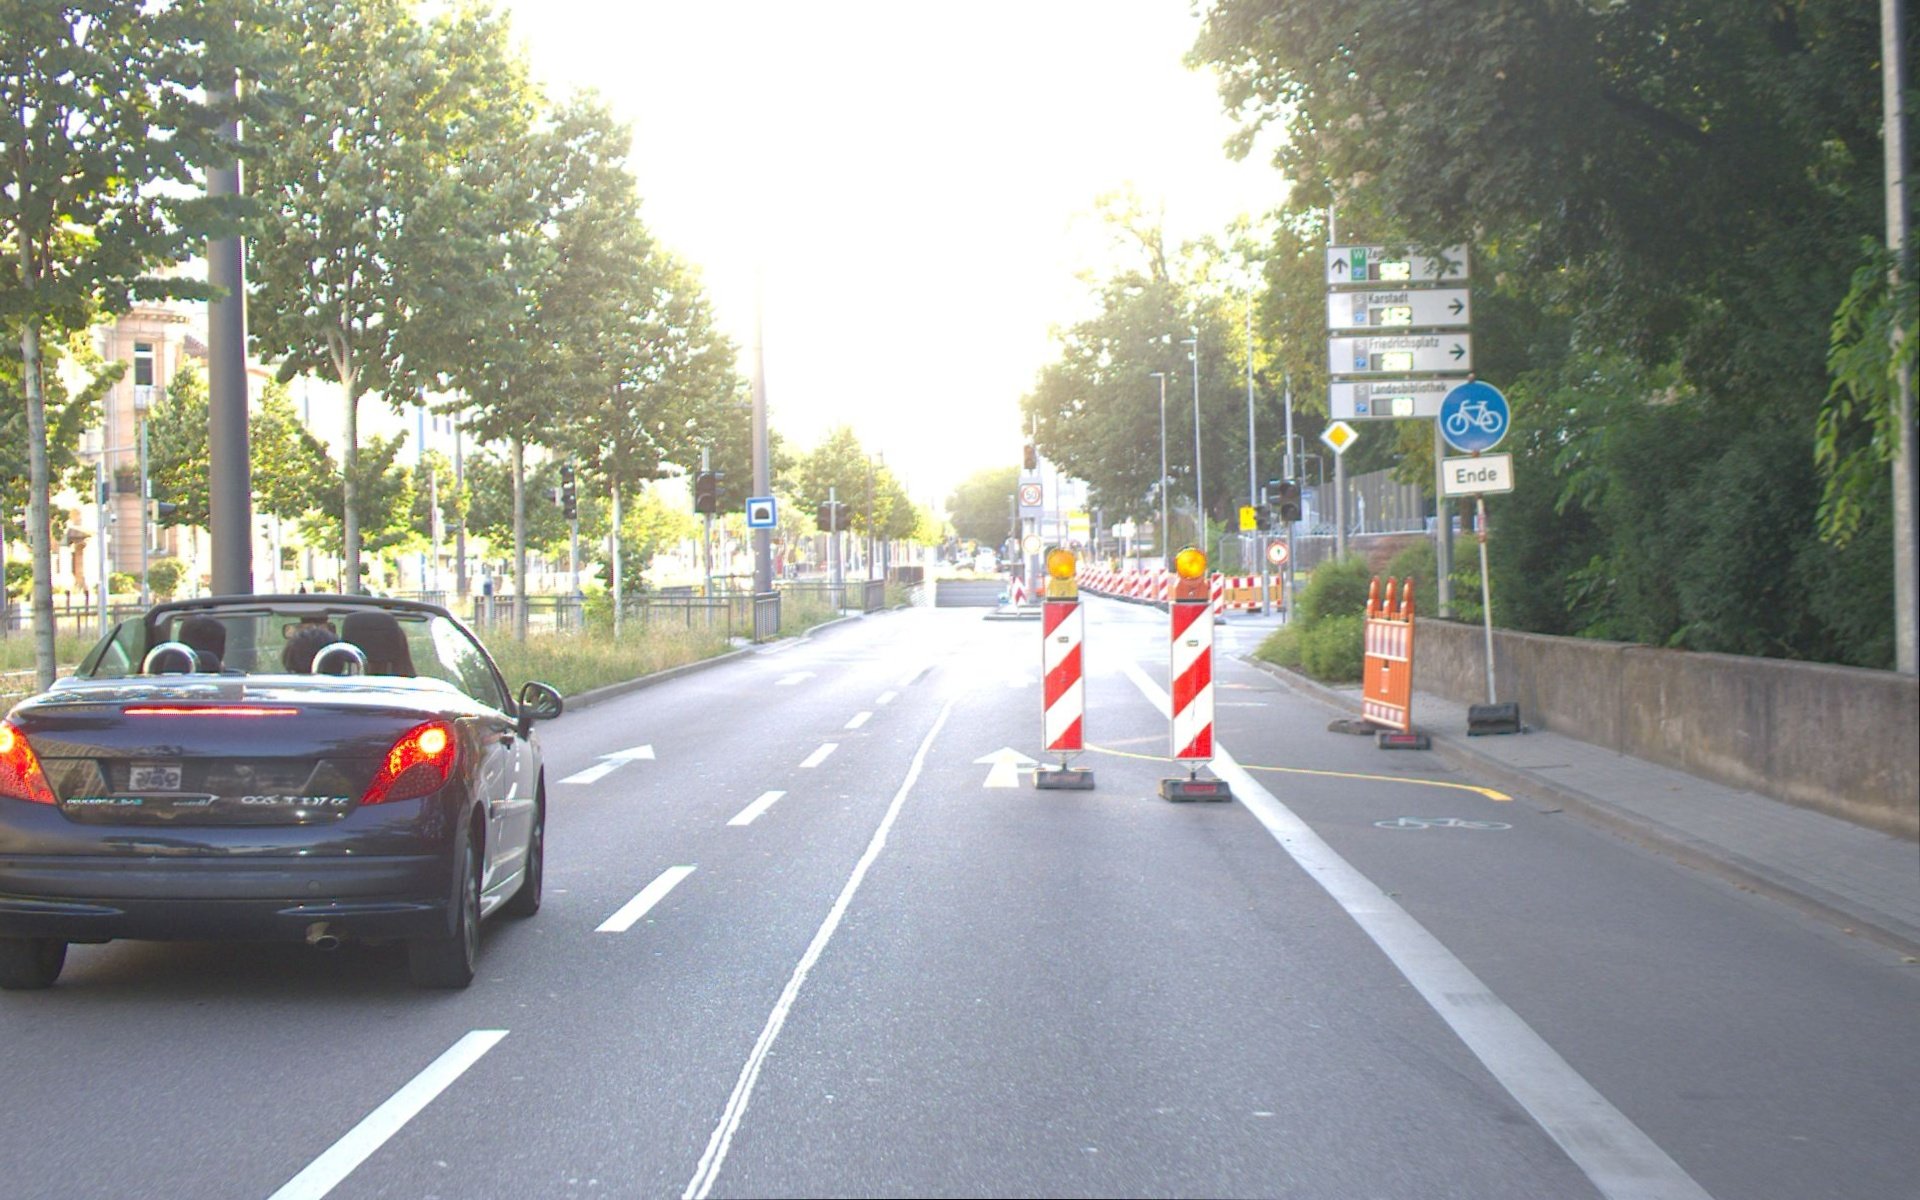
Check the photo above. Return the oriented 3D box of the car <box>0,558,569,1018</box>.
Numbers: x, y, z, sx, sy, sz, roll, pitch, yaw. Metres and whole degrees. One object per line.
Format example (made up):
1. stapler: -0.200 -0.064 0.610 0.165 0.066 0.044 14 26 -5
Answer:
1. car: -2.538 0.588 13.101 1.718 1.444 3.902 1 1 -1
